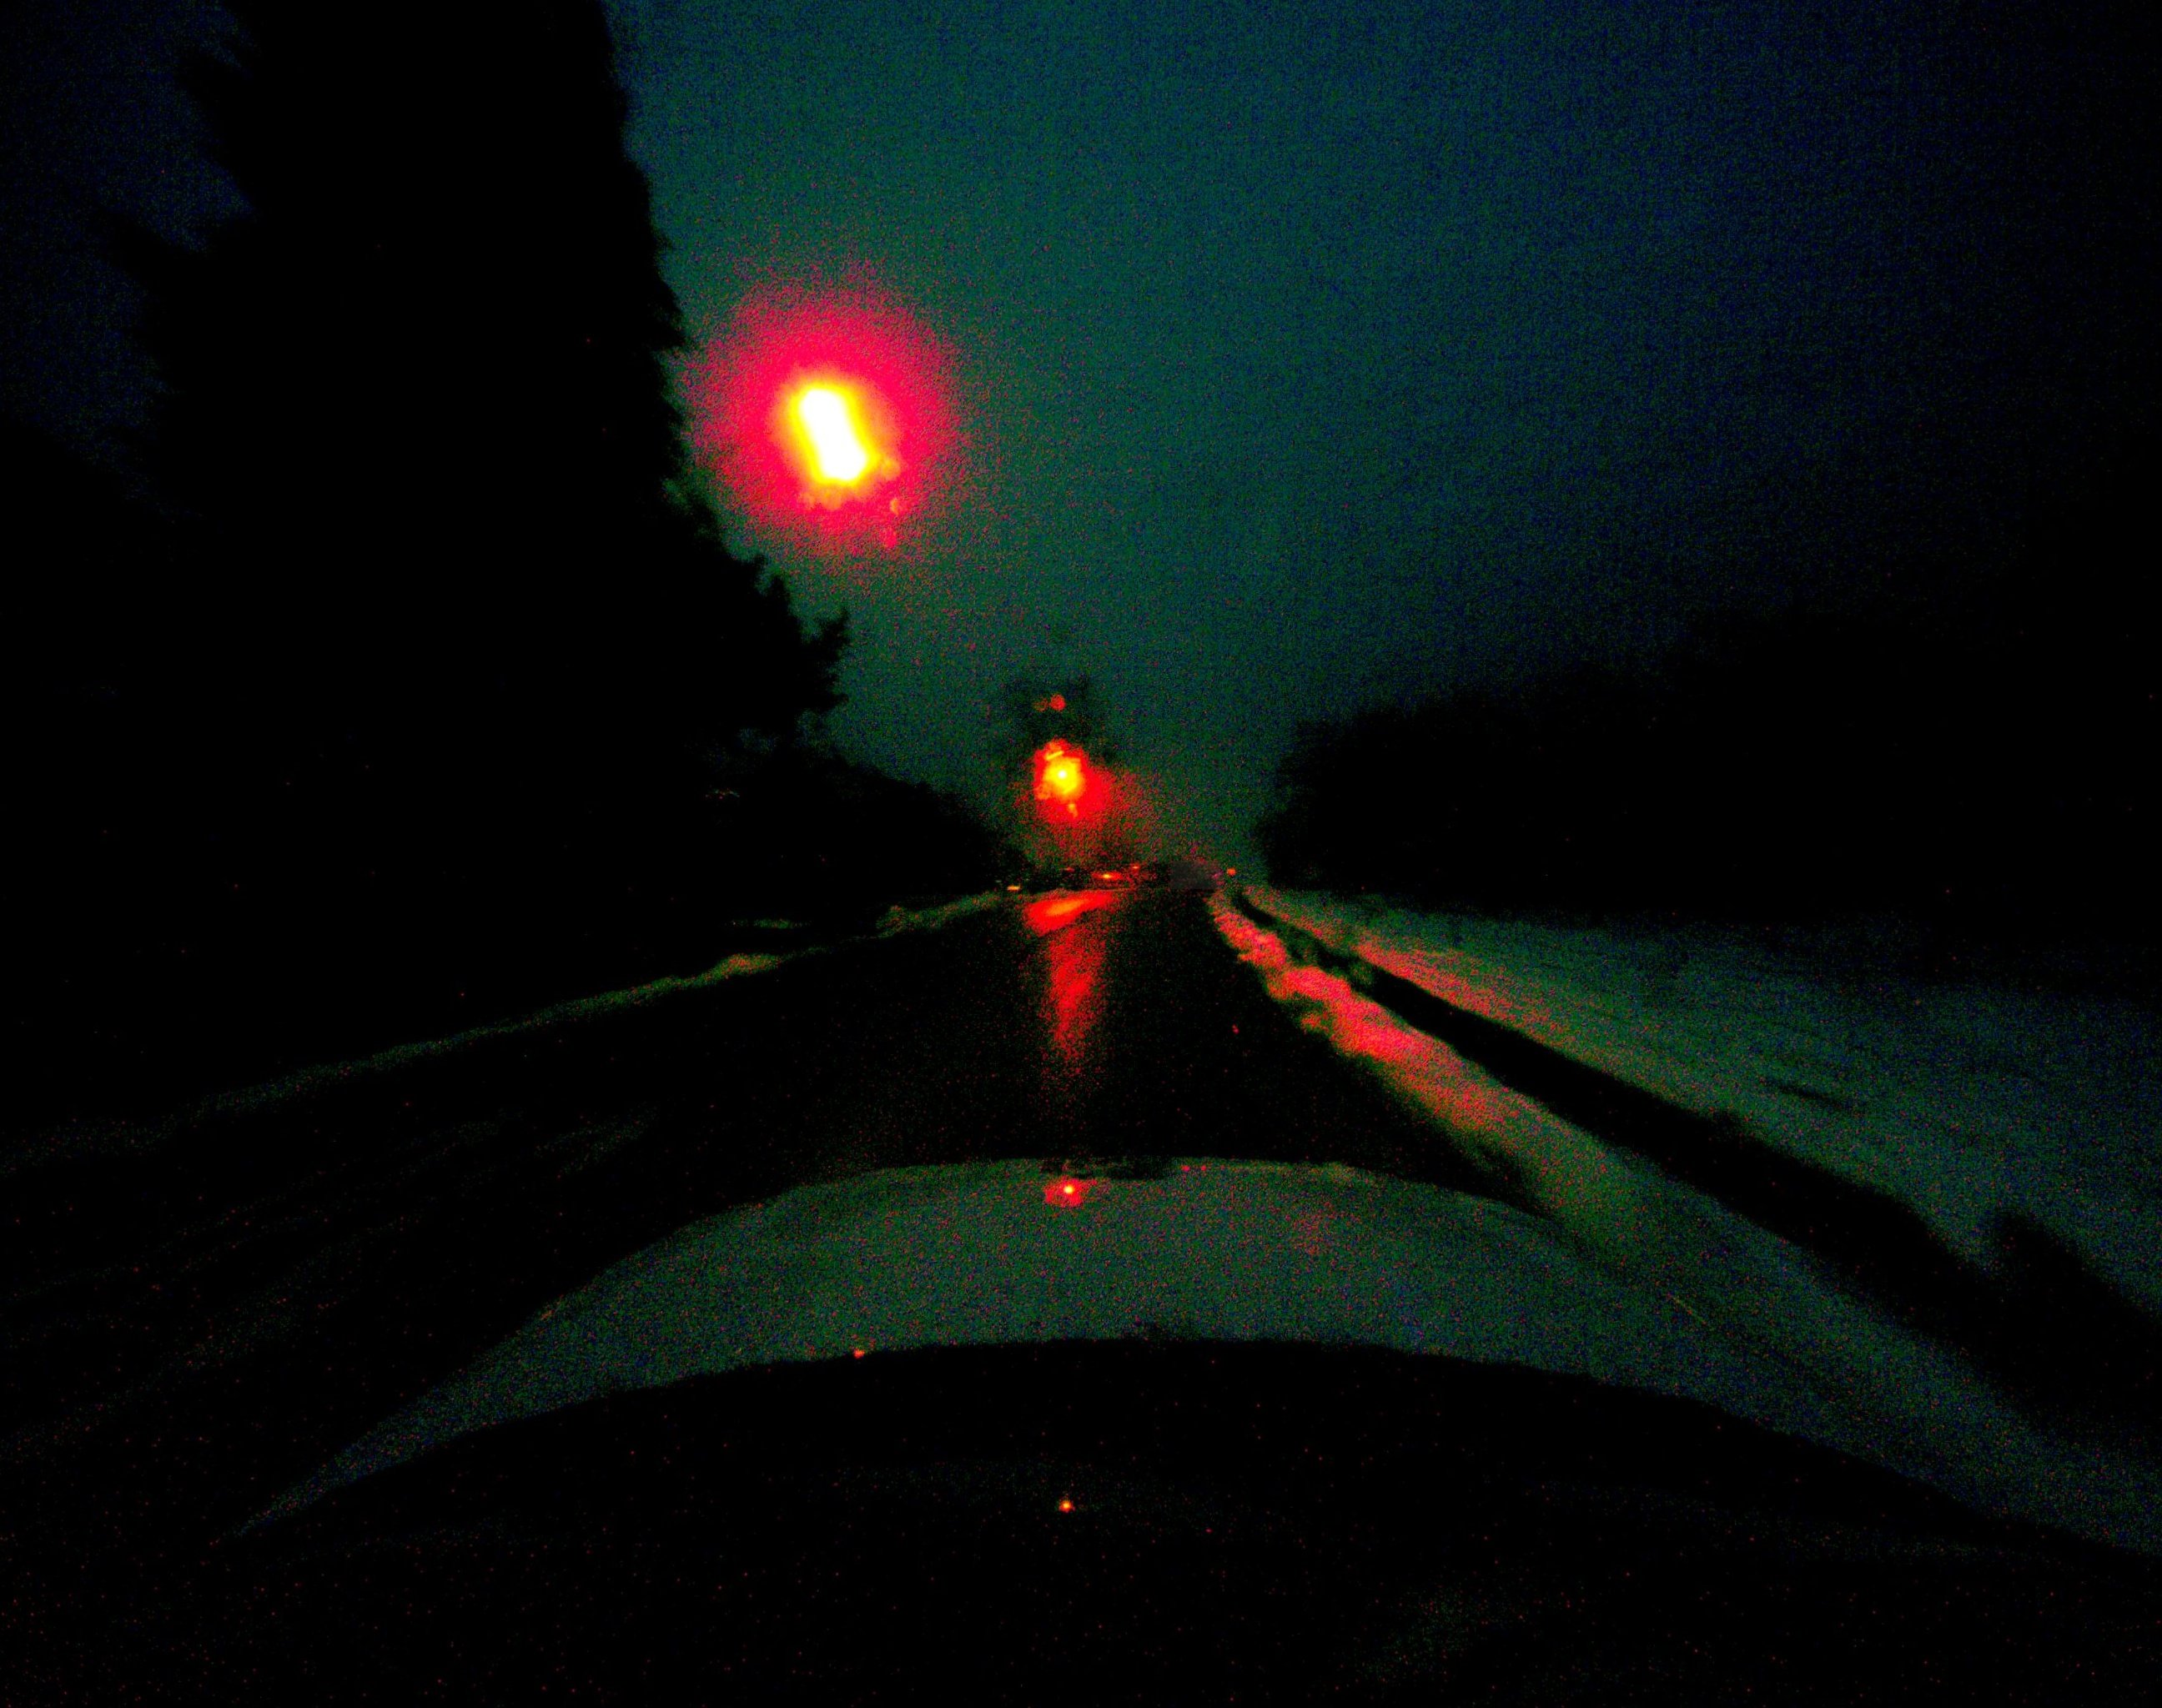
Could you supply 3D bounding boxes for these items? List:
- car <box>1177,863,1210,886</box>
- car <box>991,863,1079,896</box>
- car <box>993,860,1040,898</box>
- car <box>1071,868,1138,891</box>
[{"bbox_3d":[7.595,1.358,54.759,1.980,1.420,4.013,0,-1,11],"label":"car"},{"bbox_3d":[-2.471,1.401,44.439,4.509,1.566,2.112,-3,-2,2],"label":"car"},{"bbox_3d":[-3.136,1.241,38.692,1.992,1.566,4.985,-4,-2,-7],"label":"car"},{"bbox_3d":[1.831,1.997,63.180,4.856,1.485,2.129,-3,-2,10],"label":"car"}]
